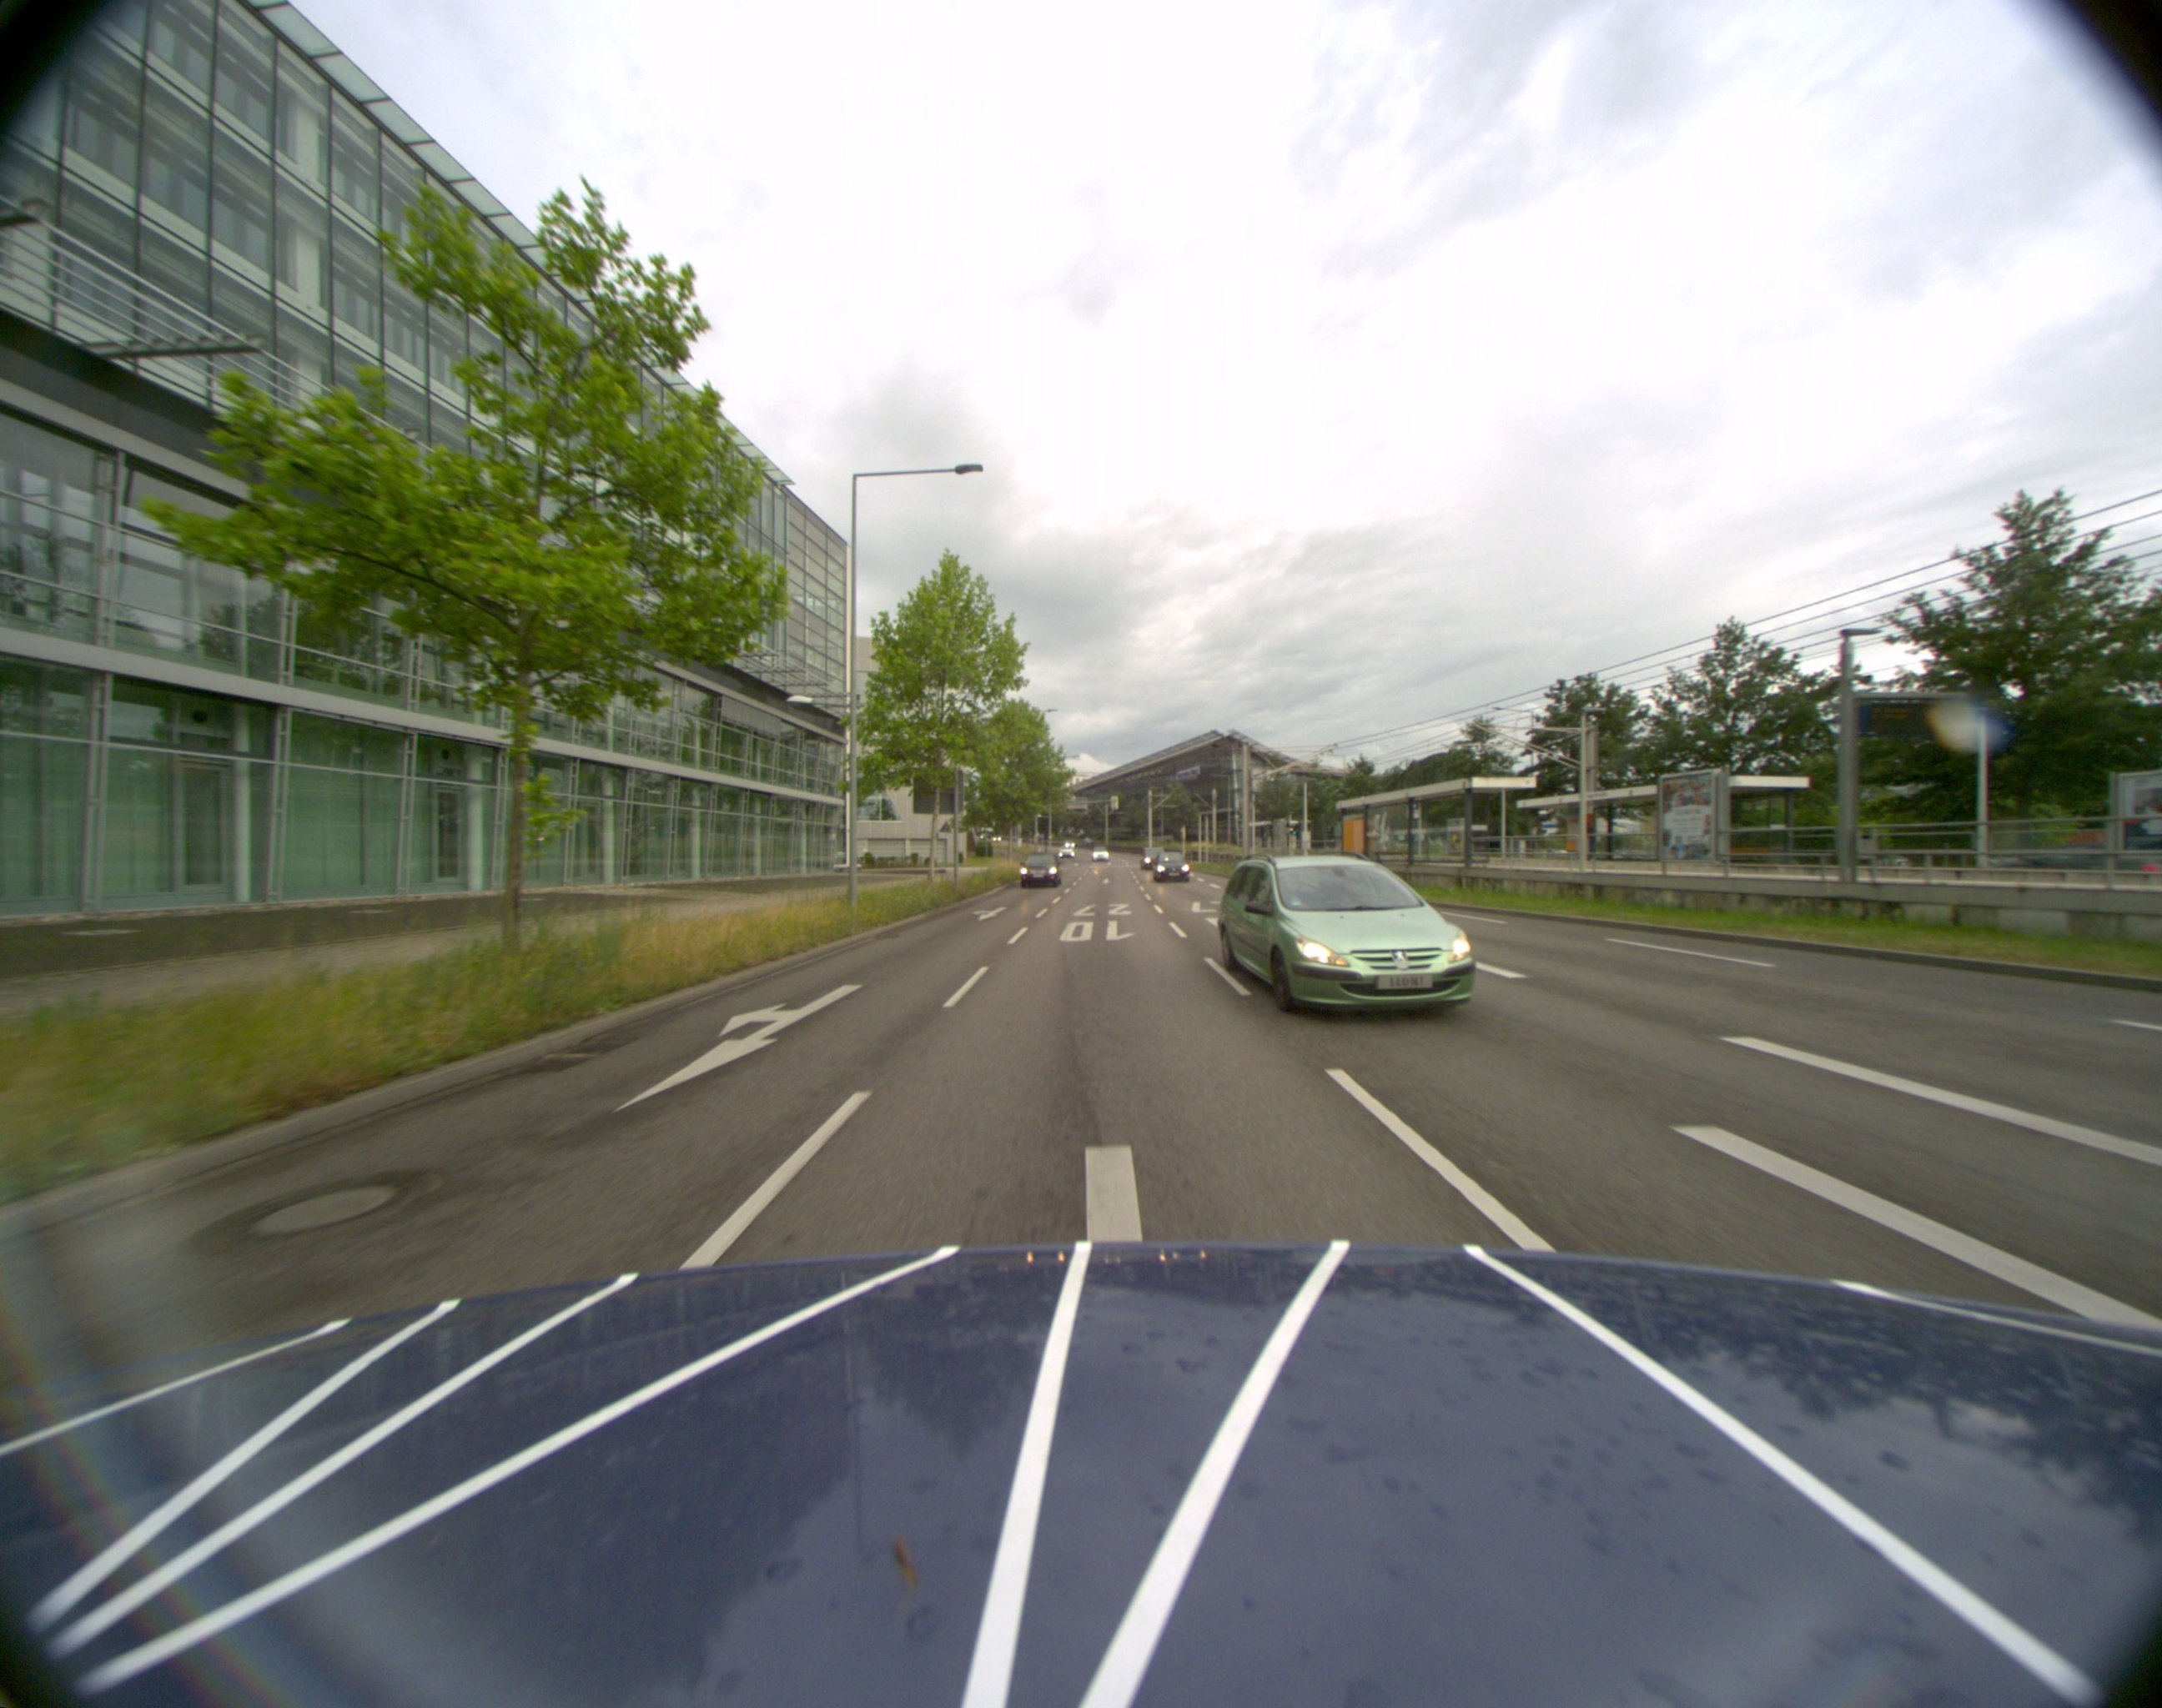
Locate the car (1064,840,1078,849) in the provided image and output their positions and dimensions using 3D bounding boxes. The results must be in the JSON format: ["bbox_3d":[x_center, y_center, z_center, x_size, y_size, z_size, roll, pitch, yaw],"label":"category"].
[{"bbox_3d":[-1.786,-1.746,134.821,1.741,1.469,3.995,-2,0,-12],"label":"car"}]

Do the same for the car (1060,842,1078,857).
[{"bbox_3d":[-1.533,-0.597,96.226,1.999,1.669,3.820,-3,1,-3],"label":"car"}]

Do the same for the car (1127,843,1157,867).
[{"bbox_3d":[4.474,0.049,56.322,1.731,1.583,4.191,-2,1,-1],"label":"car"}]

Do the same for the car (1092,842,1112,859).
[{"bbox_3d":[2.225,-0.357,81.309,1.805,1.713,3.998,-2,1,-3],"label":"car"}]

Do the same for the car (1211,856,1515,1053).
[{"bbox_3d":[2.677,0.827,8.398,1.699,1.460,4.402,-2,1,0],"label":"car"}]

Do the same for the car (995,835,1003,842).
[{"bbox_3d":[-21.063,-4.067,195.200,1.830,1.701,4.151,-2,1,-5],"label":"car"}]

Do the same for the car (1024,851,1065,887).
[{"bbox_3d":[-1.773,0.705,37.927,1.770,1.620,4.324,-2,0,0],"label":"car"}]

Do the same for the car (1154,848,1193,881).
[{"bbox_3d":[4.787,0.517,39.857,1.697,1.514,3.904,-2,1,2],"label":"car"}]
